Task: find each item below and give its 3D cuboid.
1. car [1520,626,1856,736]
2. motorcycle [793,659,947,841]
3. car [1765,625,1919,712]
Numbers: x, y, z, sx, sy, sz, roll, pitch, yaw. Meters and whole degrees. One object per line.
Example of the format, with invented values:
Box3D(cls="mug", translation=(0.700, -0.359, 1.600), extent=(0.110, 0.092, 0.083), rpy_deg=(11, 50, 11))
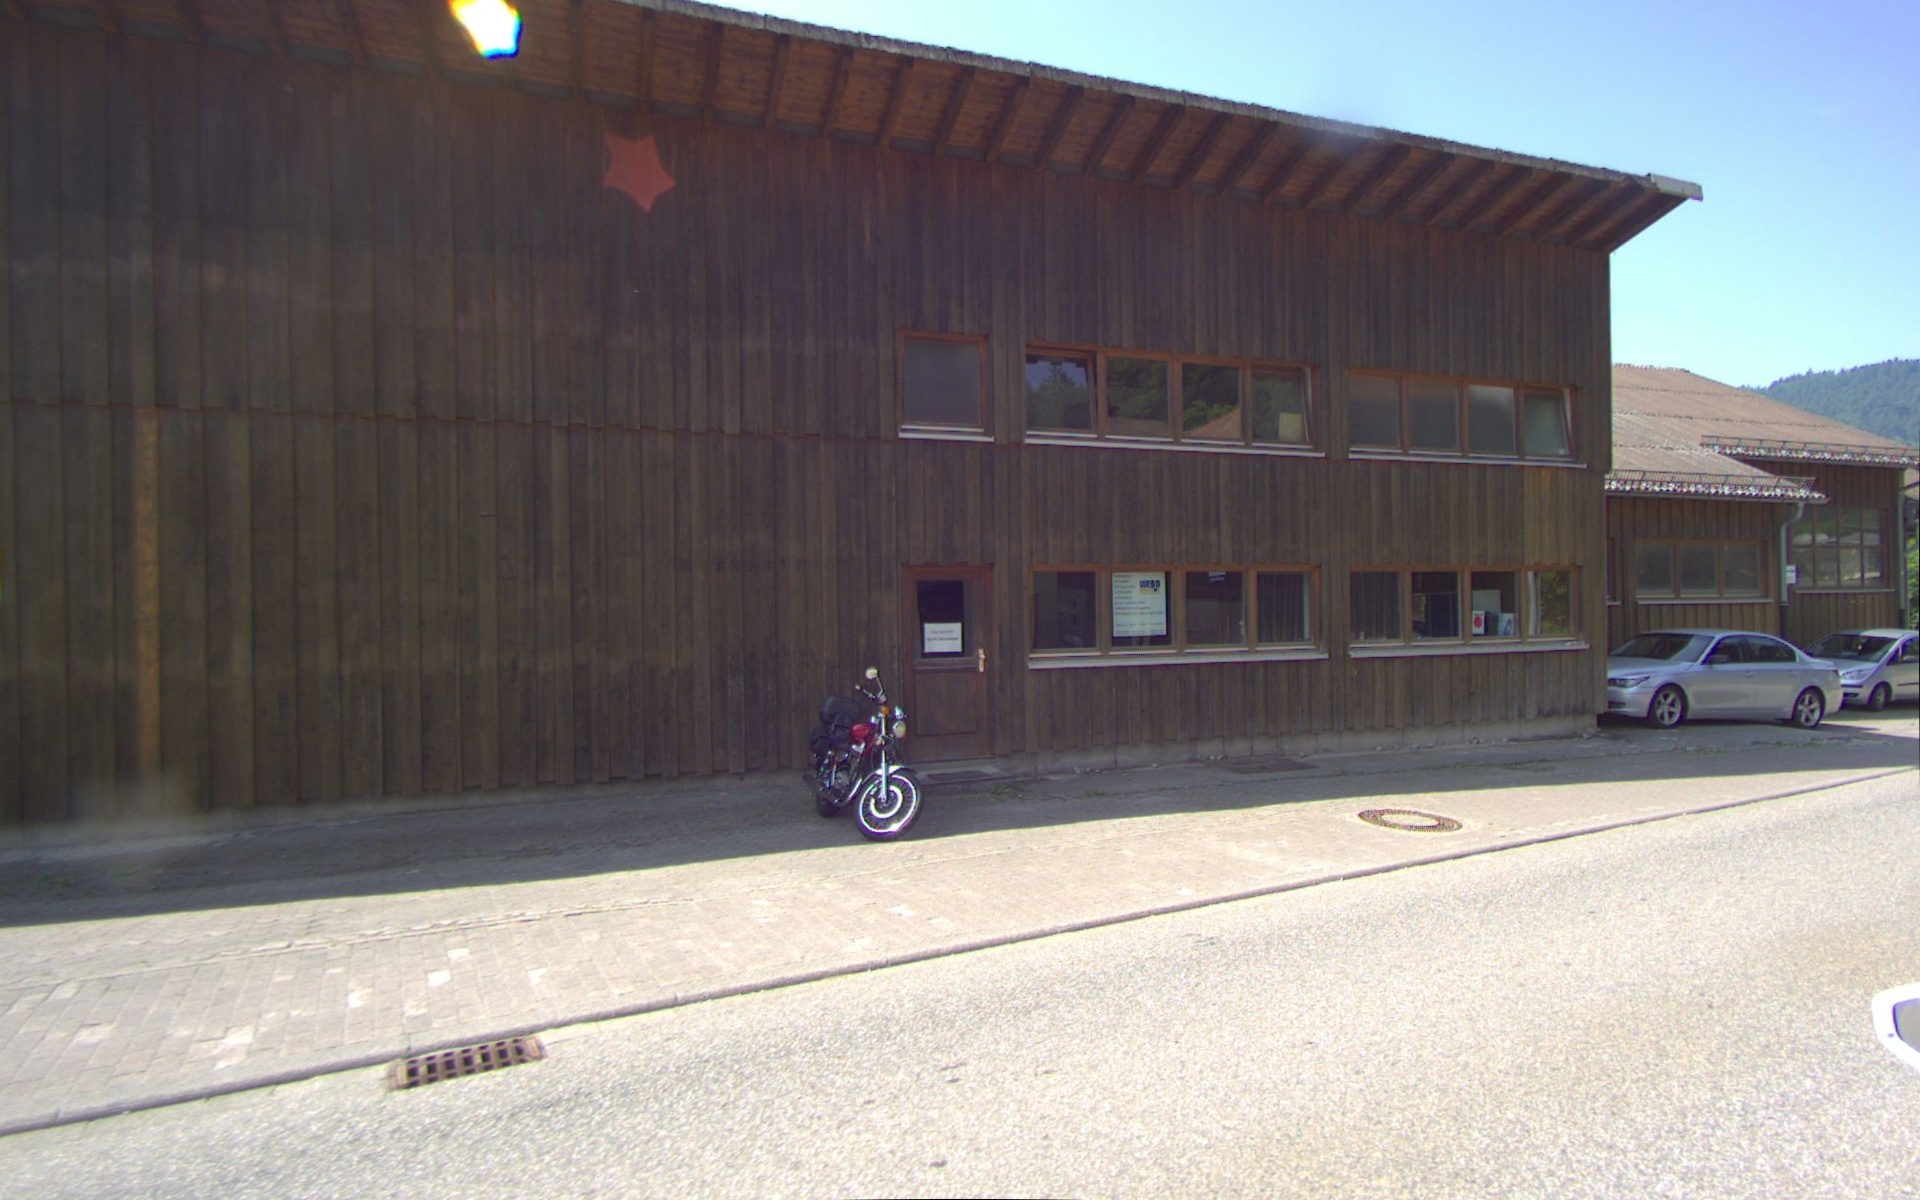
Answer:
Box3D(cls="car", translation=(11.261, 1.167, 15.572), extent=(4.726, 1.473, 1.728), rpy_deg=(0, -1, -17))
Box3D(cls="motorcycle", translation=(-0.850, 1.178, 8.650), extent=(0.732, 1.281, 2.406), rpy_deg=(0, -2, -20))
Box3D(cls="car", translation=(18.785, 1.358, 20.652), extent=(3.960, 1.591, 1.579), rpy_deg=(1, 2, -19))
